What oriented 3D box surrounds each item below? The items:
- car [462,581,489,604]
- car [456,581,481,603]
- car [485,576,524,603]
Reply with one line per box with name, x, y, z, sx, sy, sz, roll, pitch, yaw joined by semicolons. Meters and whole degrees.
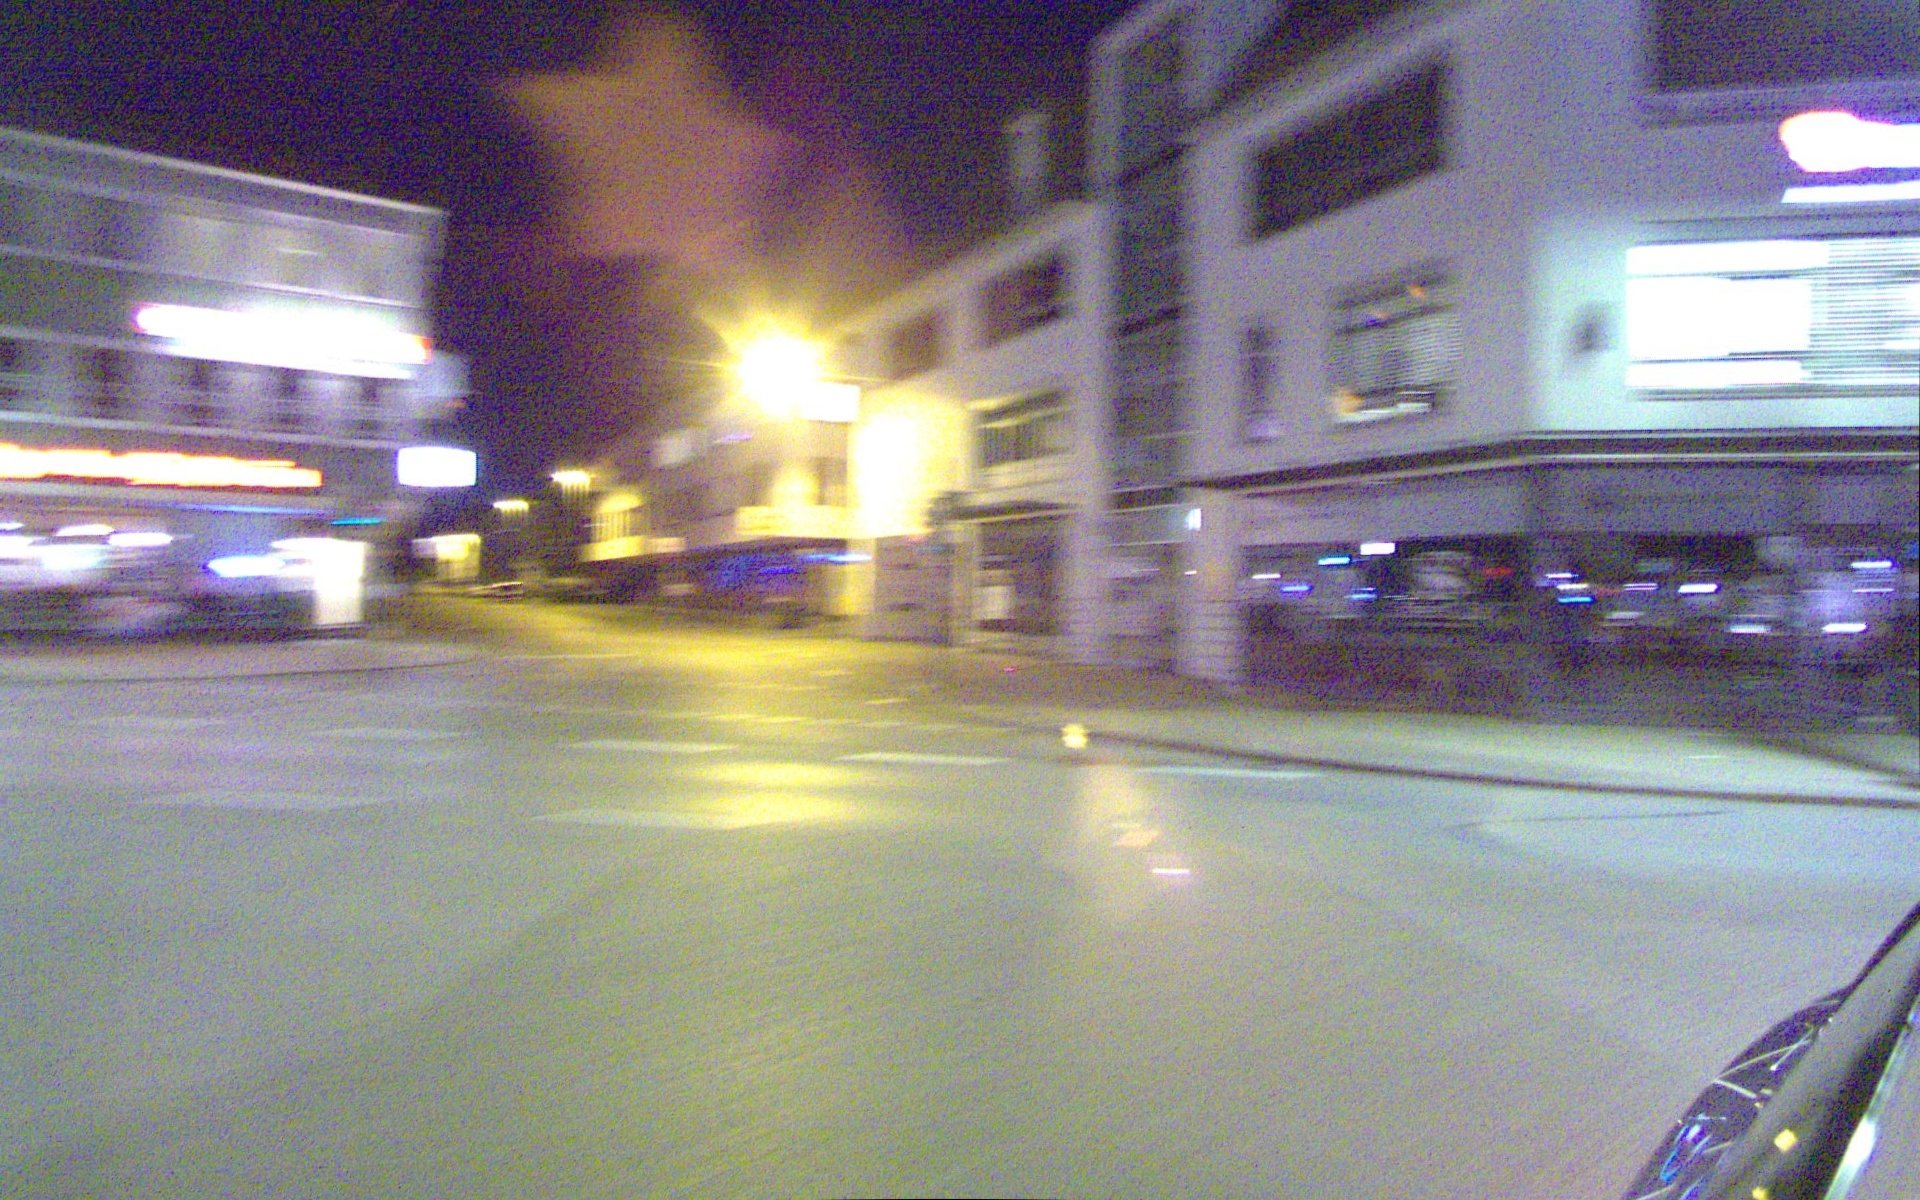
car;-42.162;-0.635;88.037;1.959;1.862;4.005;3;-2;-27
car;-44.858;-0.704;92.294;1.959;1.806;4.005;3;-2;-27
car;-32.580;-0.694;72.339;1.960;1.772;4.002;3;-2;-31
